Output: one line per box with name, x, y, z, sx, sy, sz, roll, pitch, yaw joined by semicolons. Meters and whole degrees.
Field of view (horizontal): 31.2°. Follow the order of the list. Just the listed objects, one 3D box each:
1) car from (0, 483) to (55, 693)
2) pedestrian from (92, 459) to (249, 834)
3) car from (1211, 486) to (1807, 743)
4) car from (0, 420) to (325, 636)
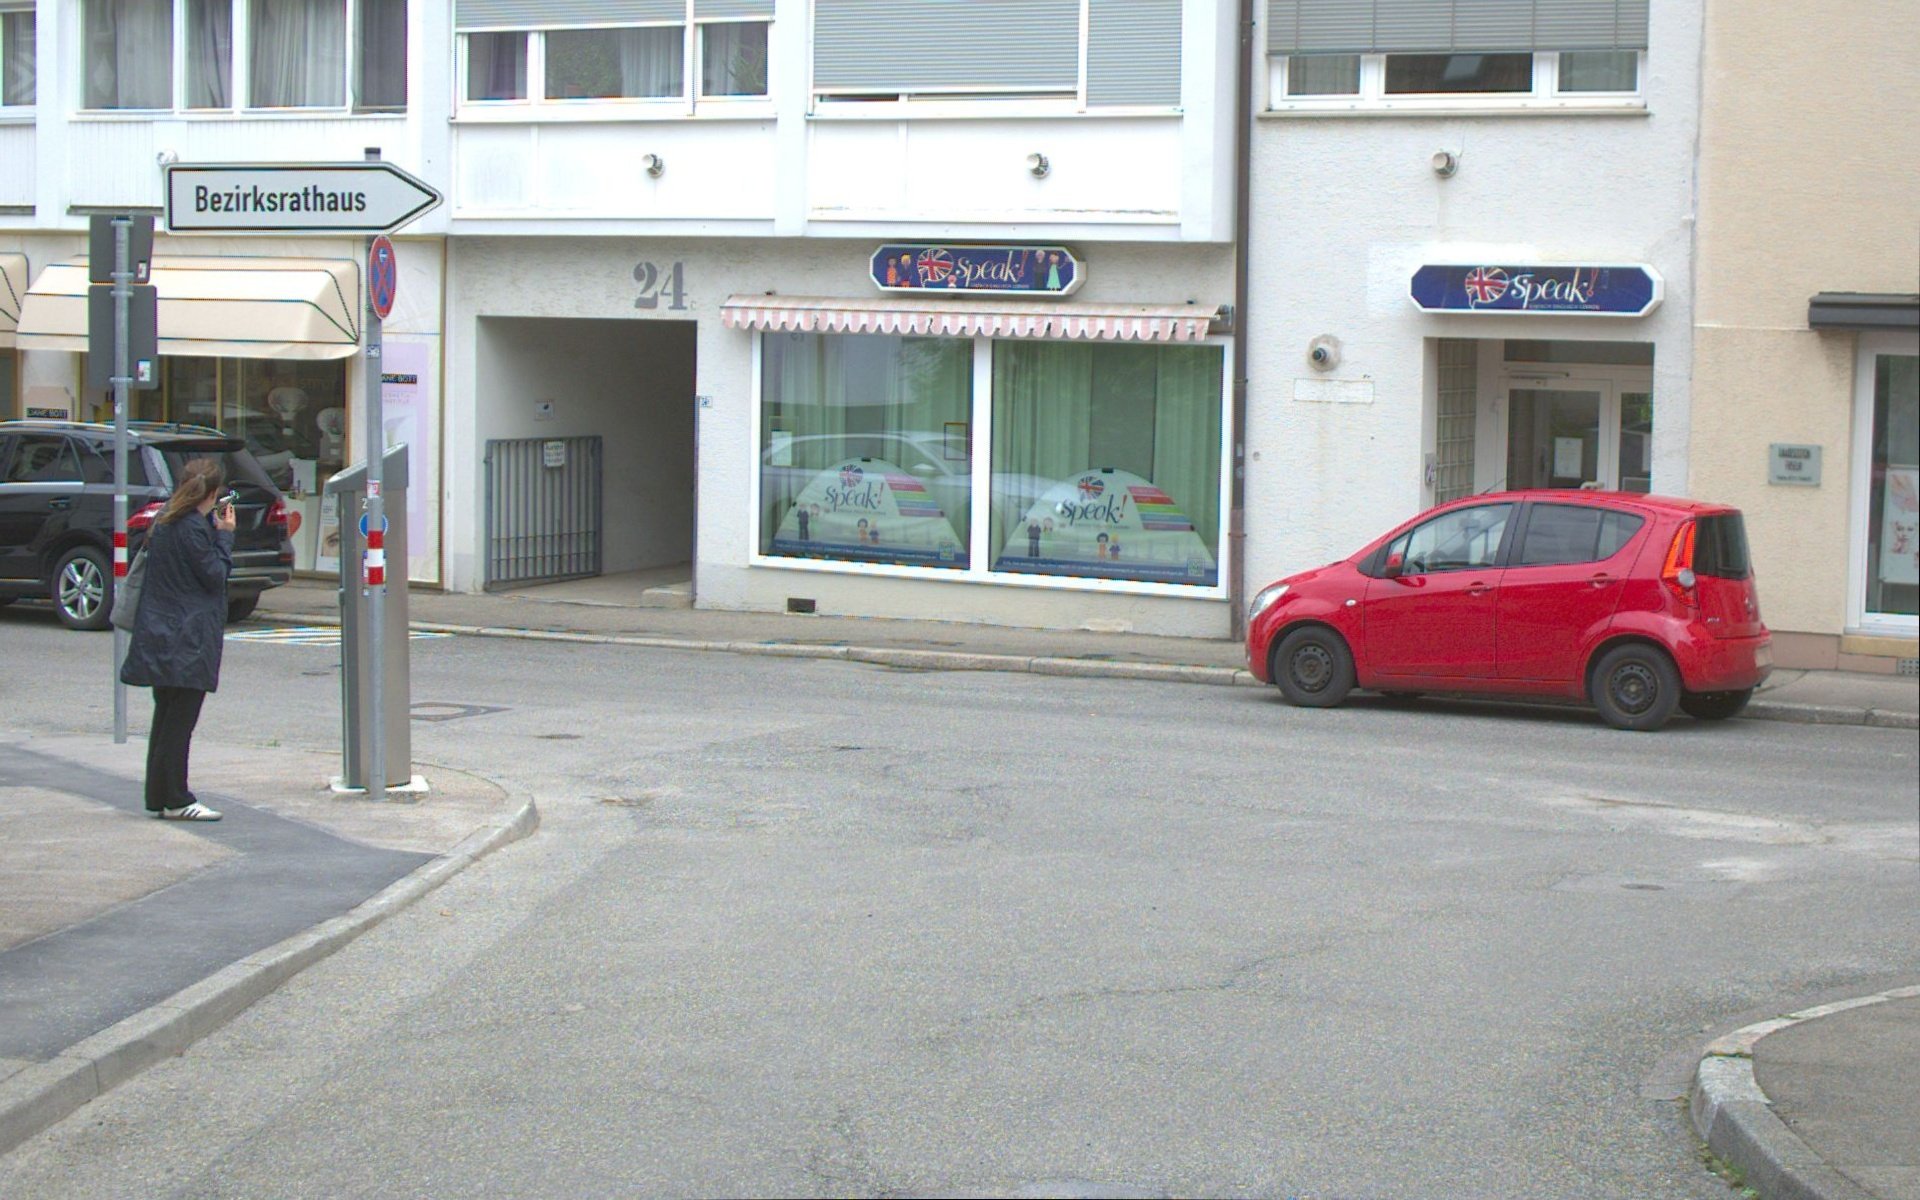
car;-8.892;-0.123;25.197;4.289;1.455;1.796;3;7;29
pedestrian;-3.624;0.203;15.817;0.646;1.679;0.604;1;2;-11
car;3.802;0.044;23.979;3.690;1.551;1.694;3;3;32
car;-7.994;-0.704;30.730;4.362;1.773;1.944;3;3;31
